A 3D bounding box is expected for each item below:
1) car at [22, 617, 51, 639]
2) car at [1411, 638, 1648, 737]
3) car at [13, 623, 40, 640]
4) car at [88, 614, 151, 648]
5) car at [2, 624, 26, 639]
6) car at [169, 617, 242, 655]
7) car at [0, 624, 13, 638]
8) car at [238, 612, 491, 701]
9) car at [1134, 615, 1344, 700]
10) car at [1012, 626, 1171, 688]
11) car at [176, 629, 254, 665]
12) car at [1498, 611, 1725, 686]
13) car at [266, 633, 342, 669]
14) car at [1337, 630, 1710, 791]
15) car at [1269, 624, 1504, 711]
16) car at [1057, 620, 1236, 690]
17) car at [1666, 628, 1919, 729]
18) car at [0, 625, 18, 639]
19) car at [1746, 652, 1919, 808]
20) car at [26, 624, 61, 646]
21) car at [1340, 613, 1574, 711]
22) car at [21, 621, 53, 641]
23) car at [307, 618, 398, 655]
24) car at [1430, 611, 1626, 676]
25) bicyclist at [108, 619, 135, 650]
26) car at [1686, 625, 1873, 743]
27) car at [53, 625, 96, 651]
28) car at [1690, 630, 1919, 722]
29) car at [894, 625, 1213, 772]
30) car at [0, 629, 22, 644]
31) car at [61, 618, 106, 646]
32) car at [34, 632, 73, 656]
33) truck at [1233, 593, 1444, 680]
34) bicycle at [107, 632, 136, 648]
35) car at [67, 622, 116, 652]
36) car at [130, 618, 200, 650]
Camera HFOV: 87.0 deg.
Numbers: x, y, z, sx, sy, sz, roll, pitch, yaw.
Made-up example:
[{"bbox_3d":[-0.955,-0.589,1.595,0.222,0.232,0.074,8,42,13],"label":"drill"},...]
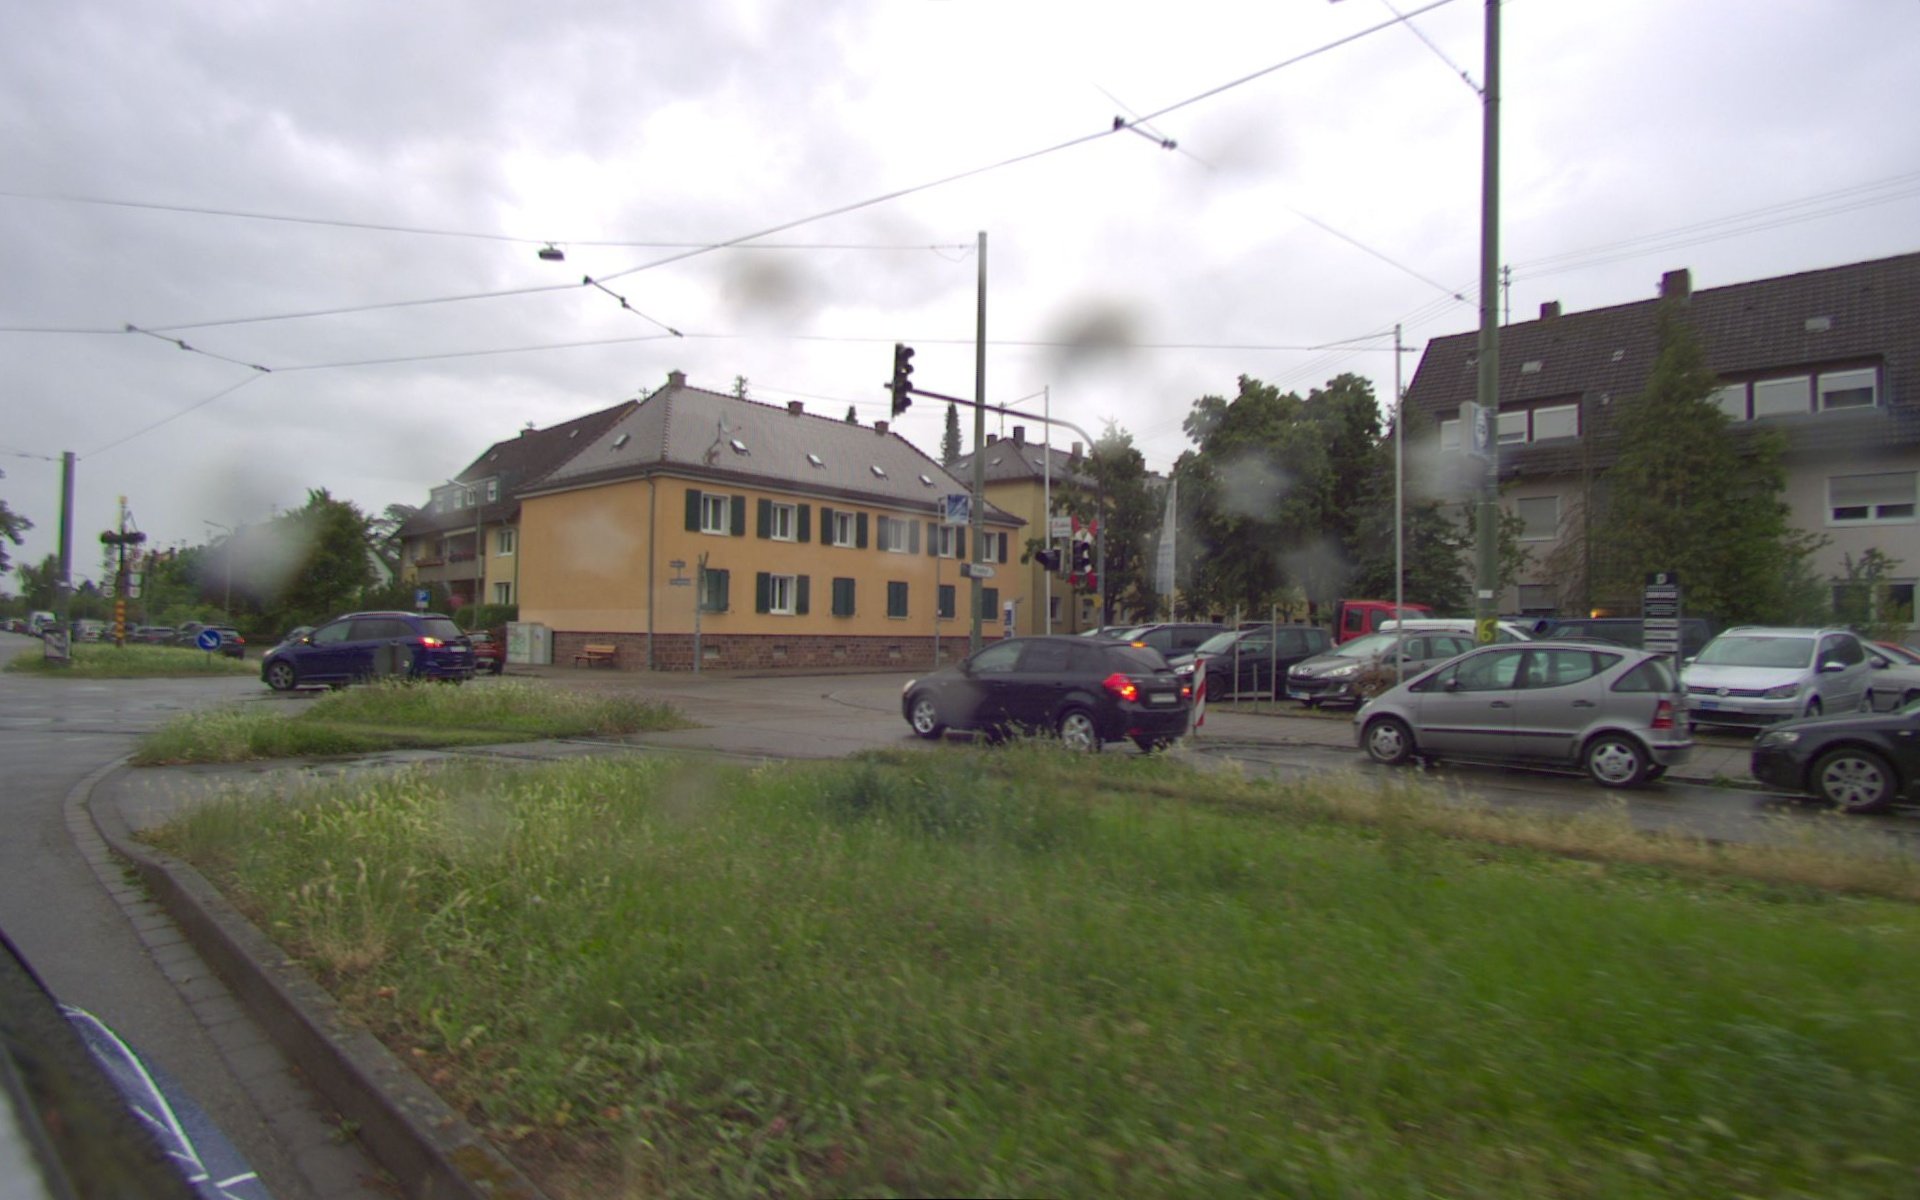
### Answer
[{"bbox_3d":[-95.936,2.918,105.152,4.002,2.049,1.971,1,-1,44],"label":"car"},{"bbox_3d":[10.166,1.516,18.020,3.988,1.516,1.839,3,-1,-29],"label":"car"},{"bbox_3d":[-111.678,3.799,121.045,4.000,1.807,1.972,1,-1,42],"label":"car"},{"bbox_3d":[-49.729,1.822,59.836,3.994,1.807,1.975,2,-1,37],"label":"car"},{"bbox_3d":[-125.328,4.173,134.112,4.000,1.807,1.972,1,-1,42],"label":"car"},{"bbox_3d":[-39.932,1.876,53.539,3.993,1.807,1.975,2,-1,37],"label":"car"},{"bbox_3d":[-143.007,4.617,151.170,4.000,1.807,1.972,1,-1,42],"label":"car"},{"bbox_3d":[-12.806,1.162,21.879,4.525,1.617,1.993,2,-1,12],"label":"car"},{"bbox_3d":[6.050,1.248,22.130,3.933,1.730,2.005,1,-3,-14],"label":"car"},{"bbox_3d":[3.477,1.522,27.124,3.807,1.591,1.812,1,-3,-14],"label":"car"},{"bbox_3d":[-32.226,2.012,43.738,3.999,1.487,1.972,-2,-3,42],"label":"car"},{"bbox_3d":[16.170,1.191,25.284,1.970,1.700,4.450,4,-4,-44],"label":"car"},{"bbox_3d":[-28.806,2.206,44.429,3.998,1.342,1.736,2,-1,41],"label":"car"},{"bbox_3d":[6.723,1.198,12.266,3.644,1.516,1.698,1,-1,43],"label":"car"},{"bbox_3d":[8.378,1.324,19.952,3.988,1.516,1.839,2,-1,-18],"label":"car"},{"bbox_3d":[4.466,1.326,24.466,3.807,1.591,1.812,1,-3,-14],"label":"car"},{"bbox_3d":[15.883,1.402,18.651,1.734,1.700,4.450,4,-4,-44],"label":"car"},{"bbox_3d":[-138.157,4.684,146.753,4.000,1.807,1.972,1,-1,42],"label":"car"},{"bbox_3d":[9.992,1.262,9.112,1.697,1.349,4.393,3,-1,-43],"label":"car"},{"bbox_3d":[-83.585,3.184,92.309,4.000,1.807,1.972,1,-1,42],"label":"car"},{"bbox_3d":[11.336,1.377,23.307,1.970,2.029,4.450,4,-4,-44],"label":"car"},{"bbox_3d":[-91.155,3.090,99.922,4.000,1.807,1.972,1,-1,42],"label":"car"},{"bbox_3d":[-24.753,1.460,41.181,4.504,1.407,1.940,-1,-3,42],"label":"car"},{"bbox_3d":[15.943,1.231,28.564,1.970,1.700,4.450,4,-4,-44],"label":"car"},{"bbox_3d":[-44.303,1.840,53.484,1.042,1.610,0.936,-2,-4,42],"label":"bicyclist"},{"bbox_3d":[12.751,1.227,15.668,3.814,1.591,1.809,3,-4,-45],"label":"car"},{"bbox_3d":[-67.113,2.875,76.654,4.000,1.807,1.972,1,-1,42],"label":"car"},{"bbox_3d":[17.699,1.493,20.479,1.970,1.700,4.450,4,-4,-44],"label":"car"},{"bbox_3d":[1.104,1.171,13.340,1.716,1.497,4.003,3,-1,-45],"label":"car"},{"bbox_3d":[-128.940,4.907,137.359,4.000,1.807,1.972,1,-1,42],"label":"car"},{"bbox_3d":[-63.086,2.283,72.820,4.000,1.807,1.972,1,-1,42],"label":"car"},{"bbox_3d":[-74.828,3.608,83.525,4.000,1.807,1.972,1,-1,42],"label":"car"},{"bbox_3d":[10.890,1.102,29.754,1.965,2.289,6.122,3,-3,-26],"label":"truck"},{"bbox_3d":[-44.326,2.116,53.506,1.819,0.792,0.929,-2,-4,42],"label":"bicycle"},{"bbox_3d":[-57.689,2.419,67.208,4.000,1.807,1.972,1,-1,42],"label":"car"},{"bbox_3d":[-44.171,1.869,56.182,4.119,1.586,1.976,2,-1,36],"label":"car"}]
